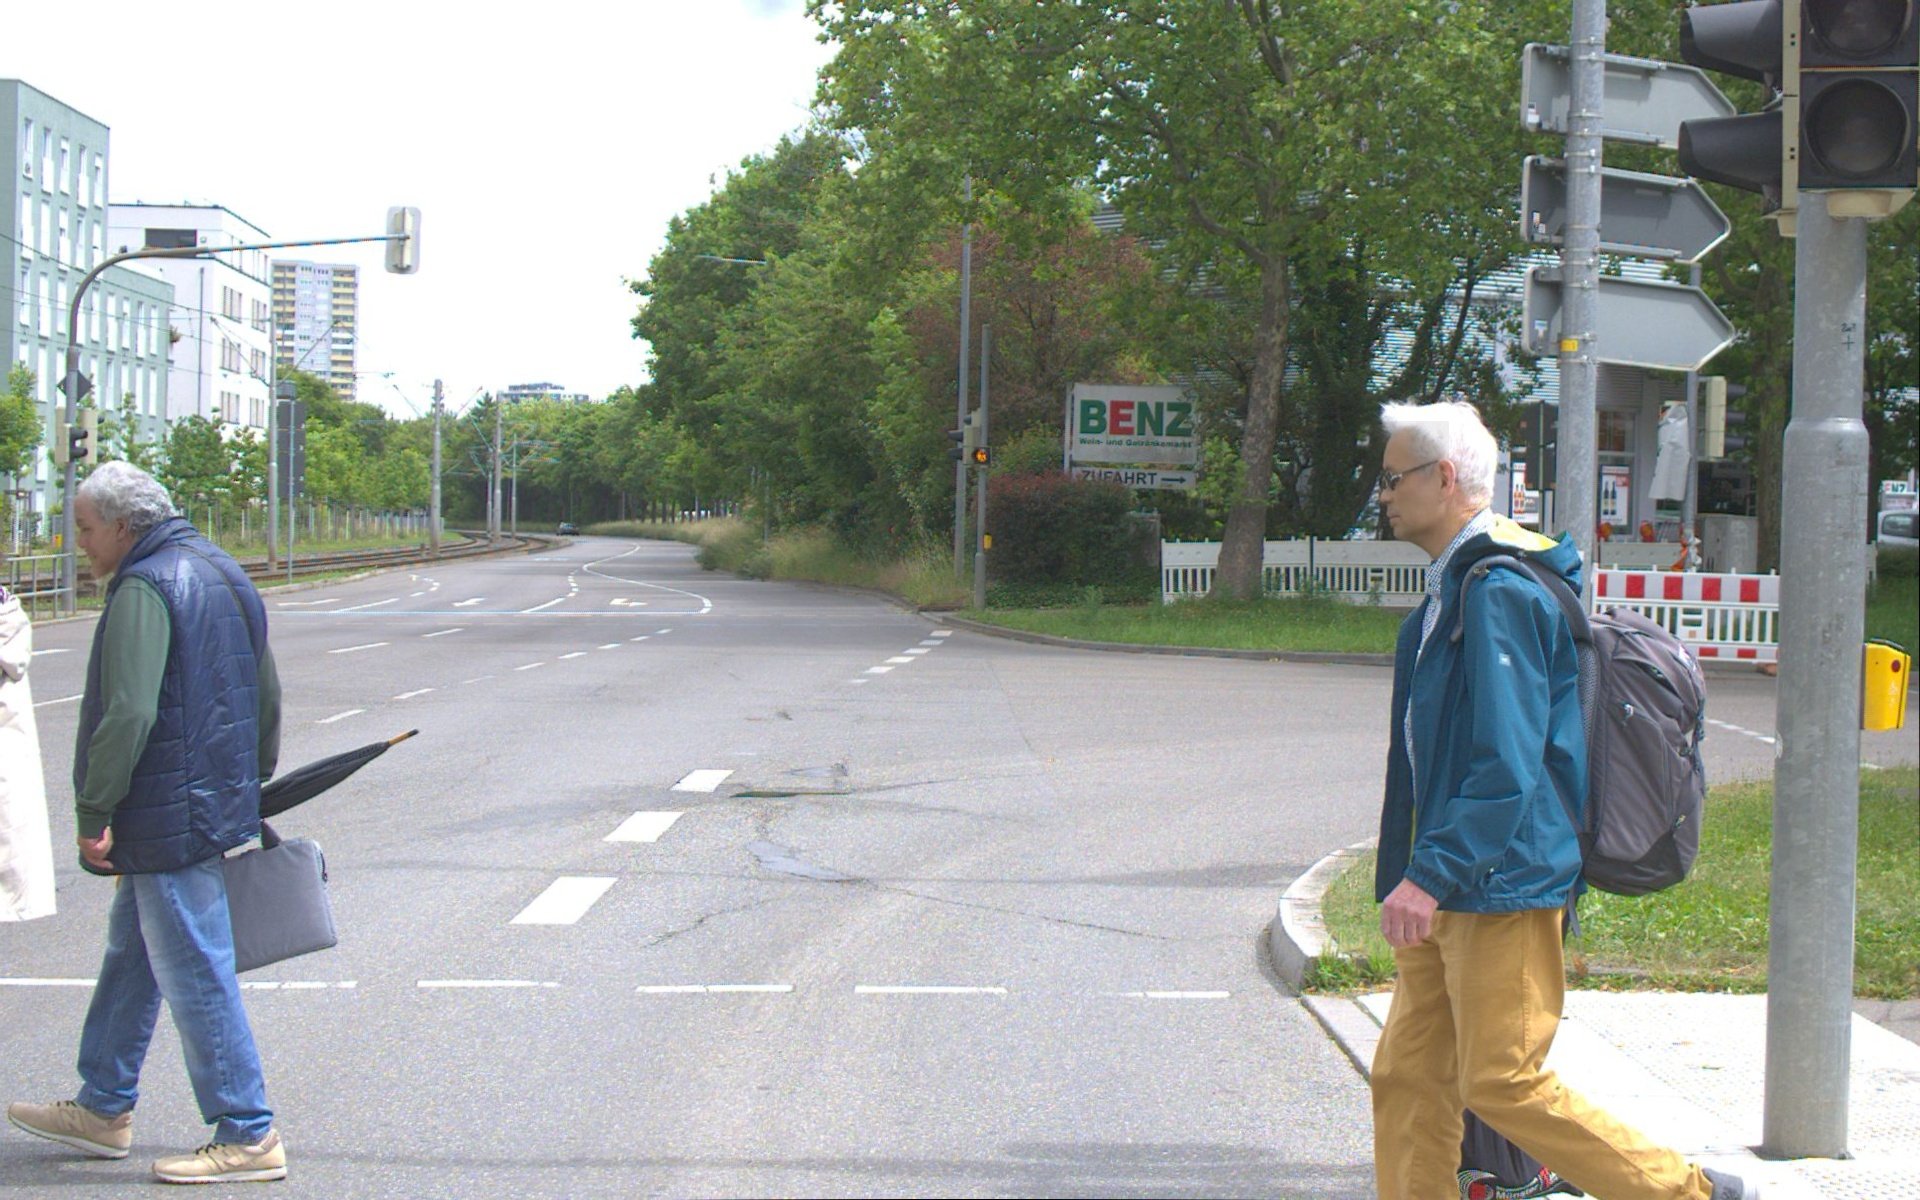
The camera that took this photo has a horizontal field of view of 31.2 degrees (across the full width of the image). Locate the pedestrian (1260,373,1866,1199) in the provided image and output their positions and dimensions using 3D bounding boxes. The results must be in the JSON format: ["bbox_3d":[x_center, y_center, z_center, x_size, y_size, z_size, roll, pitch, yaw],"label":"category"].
[{"bbox_3d":[1.103,0.485,6.419,1.010,1.768,0.948,1,1,9],"label":"pedestrian"}]

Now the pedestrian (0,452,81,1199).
[{"bbox_3d":[-2.327,0.507,7.190,0.822,1.634,0.733,1,1,-4],"label":"pedestrian"}]

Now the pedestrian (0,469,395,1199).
[{"bbox_3d":[-1.771,0.524,7.877,0.868,1.629,0.765,1,1,-5],"label":"pedestrian"}]

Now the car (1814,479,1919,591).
[{"bbox_3d":[17.739,-1.181,62.560,1.993,2.007,4.000,0,2,-32],"label":"car"}]
